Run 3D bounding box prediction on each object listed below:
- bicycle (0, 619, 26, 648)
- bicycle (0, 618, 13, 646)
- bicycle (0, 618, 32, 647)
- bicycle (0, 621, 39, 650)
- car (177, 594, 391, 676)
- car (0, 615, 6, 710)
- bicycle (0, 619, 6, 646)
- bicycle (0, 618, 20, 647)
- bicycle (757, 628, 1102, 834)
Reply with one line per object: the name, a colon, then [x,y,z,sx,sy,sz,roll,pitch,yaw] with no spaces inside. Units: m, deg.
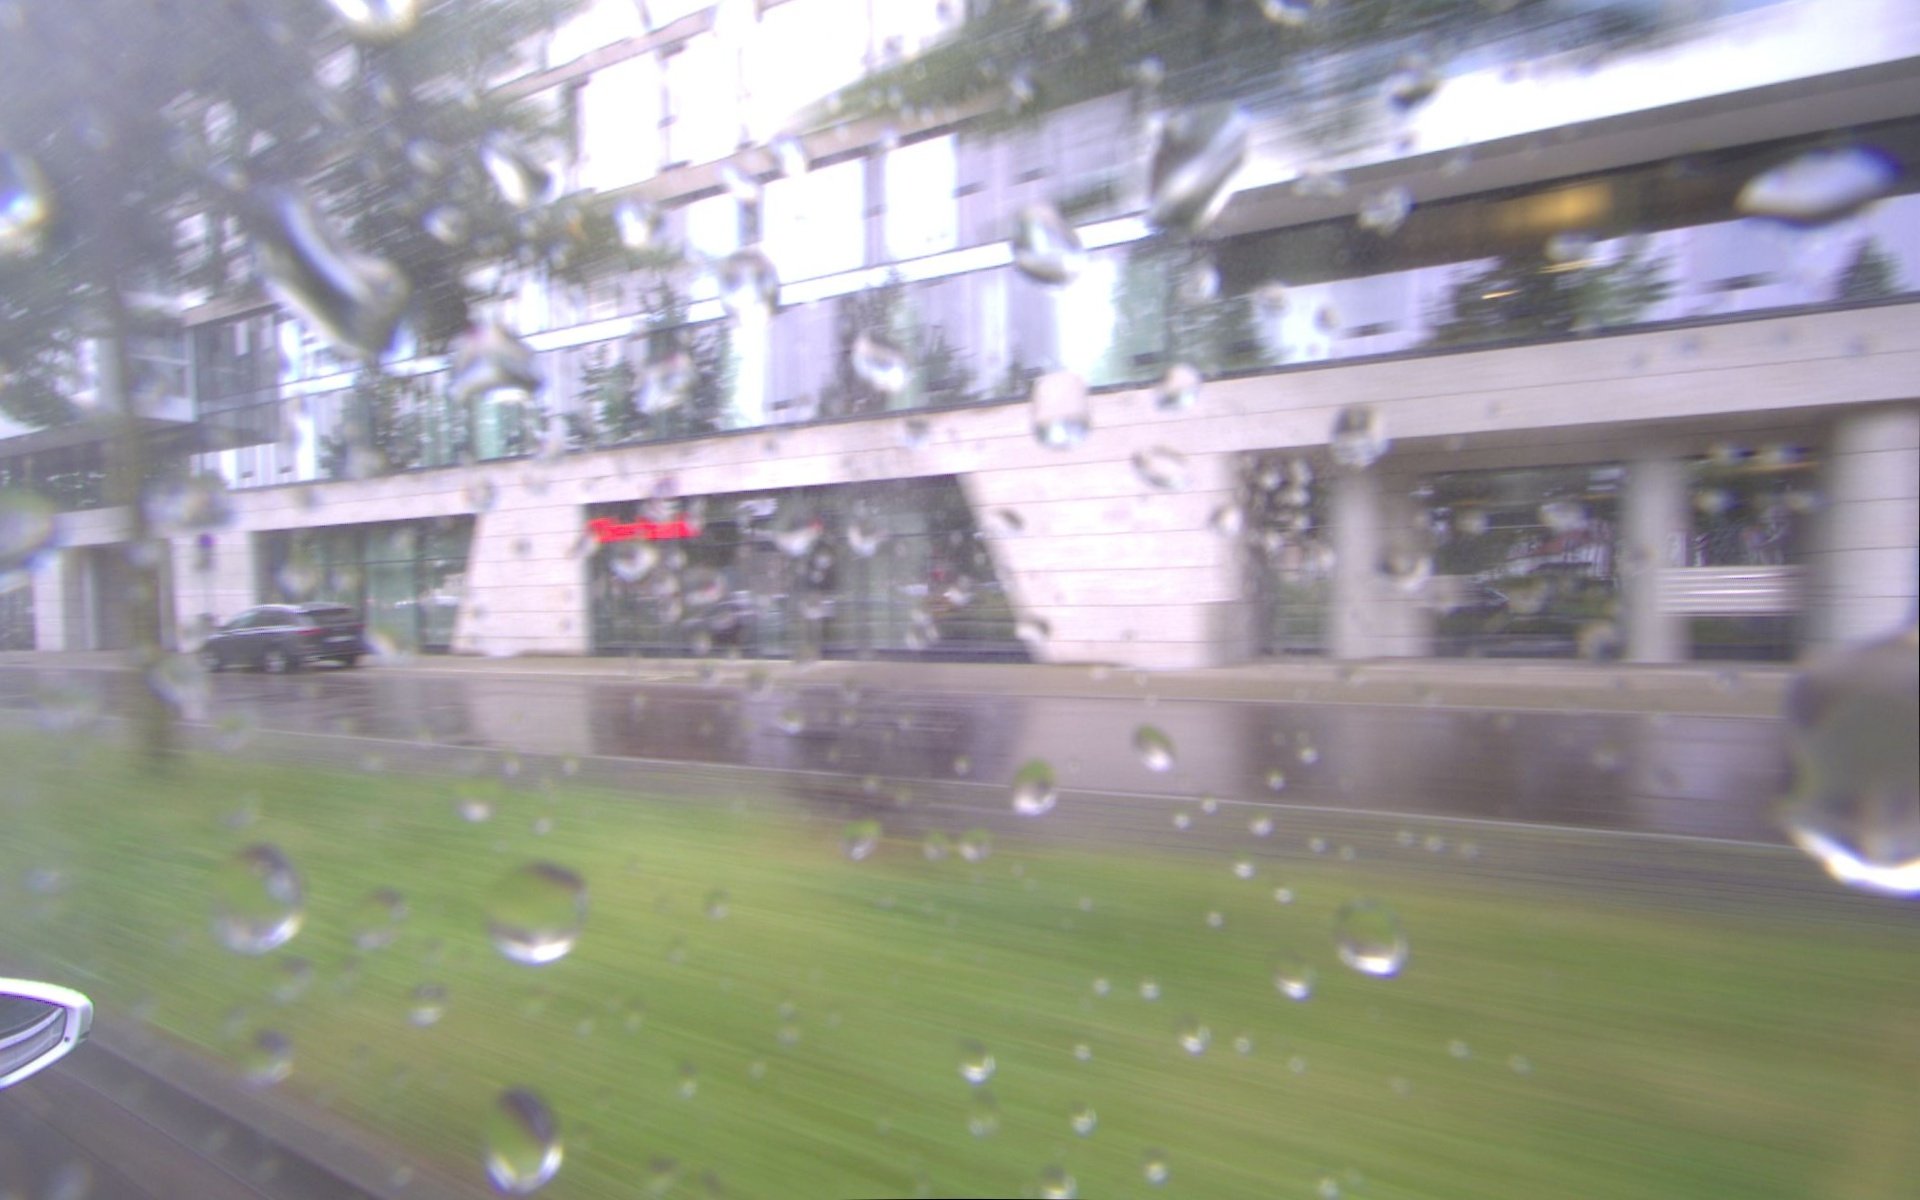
bicycle: [-35.822,1.259,36.993,0.533,1.042,1.804,-1,0,30]
bicycle: [-36.885,1.240,37.627,0.533,1.042,1.804,-1,0,30]
bicycle: [-35.306,1.203,36.686,0.533,1.042,1.804,-1,0,30]
bicycle: [-34.657,1.294,36.301,0.395,1.042,1.804,-1,0,30]
car: [-15.563,0.718,22.998,4.957,1.523,1.988,1,6,30]
car: [-17.877,0.959,16.410,4.649,1.526,1.879,2,2,28]
bicycle: [-37.526,1.252,38.005,0.533,1.042,1.804,-1,0,30]
bicycle: [-36.334,1.230,37.300,0.533,1.042,1.804,-1,0,30]
bicycle: [-0.215,0.607,5.125,1.874,0.834,0.341,2,2,31]
